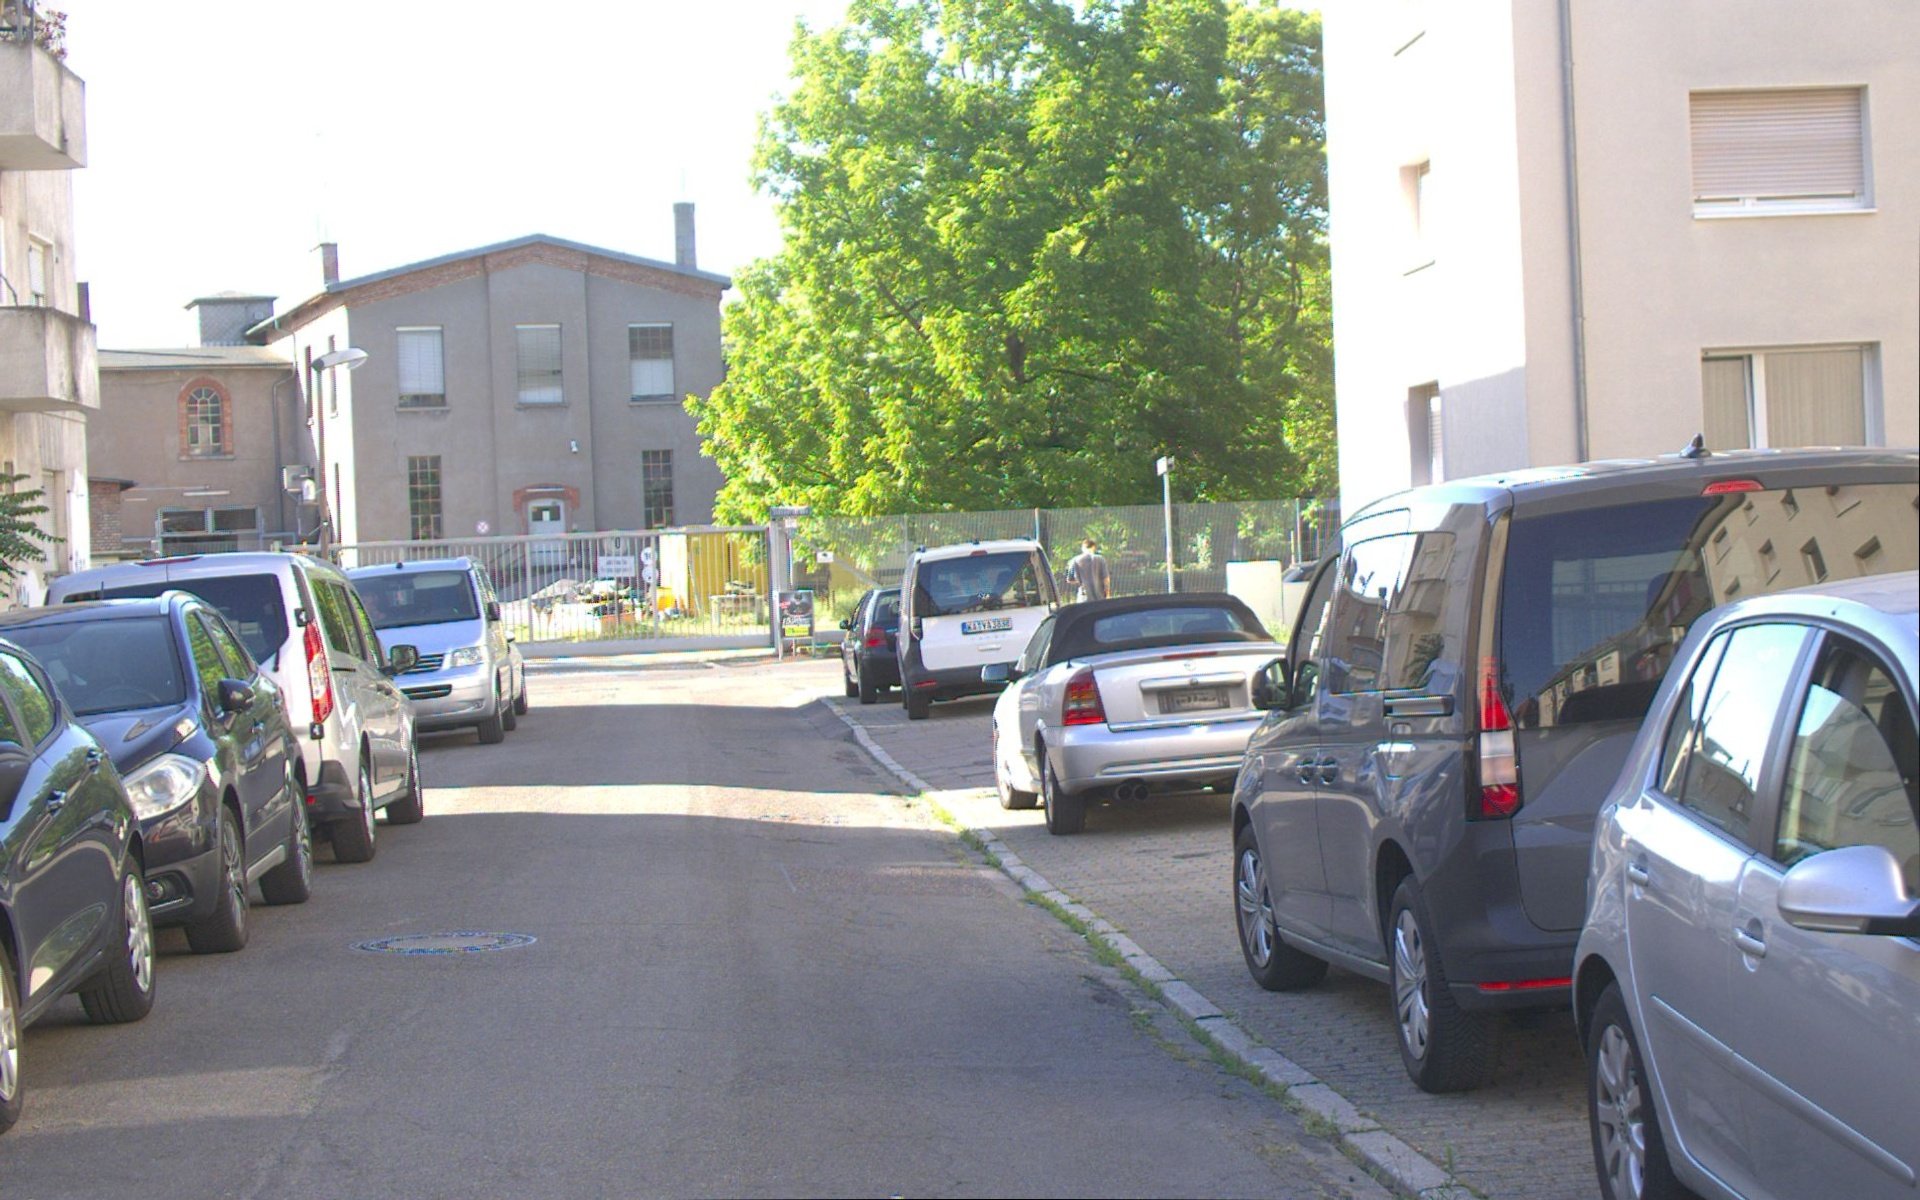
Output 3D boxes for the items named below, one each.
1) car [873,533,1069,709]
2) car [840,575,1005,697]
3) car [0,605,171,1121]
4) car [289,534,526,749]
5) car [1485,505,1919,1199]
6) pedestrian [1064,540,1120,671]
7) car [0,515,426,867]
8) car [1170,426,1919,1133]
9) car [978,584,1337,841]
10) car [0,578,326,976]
[{"bbox_3d":[0.066,0.228,38.028,1.765,1.734,4.095,-4,0,-4],"label":"car"},{"bbox_3d":[-0.525,0.446,43.502,1.765,1.358,4.095,-4,0,-4],"label":"car"},{"bbox_3d":[-3.628,0.790,10.669,1.658,1.438,3.872,-4,0,-4],"label":"car"},{"bbox_3d":[-5.762,0.420,36.371,1.993,2.007,4.454,-4,0,-4],"label":"car"},{"bbox_3d":[2.249,0.605,6.223,1.681,1.582,4.013,-3,0,-3],"label":"car"},{"bbox_3d":[1.875,0.080,48.765,0.654,1.809,0.614,-4,0,6],"label":"pedestrian"},{"bbox_3d":[-4.398,0.519,20.864,1.896,1.849,4.195,-2,-1,-4],"label":"car"},{"bbox_3d":[2.008,0.496,11.477,1.896,1.849,4.344,-2,-1,-5],"label":"car"},{"bbox_3d":[1.161,0.644,21.991,1.717,1.359,4.055,-4,1,-4],"label":"car"},{"bbox_3d":[-4.023,0.736,15.457,1.832,1.510,4.000,-4,0,-5],"label":"car"}]
